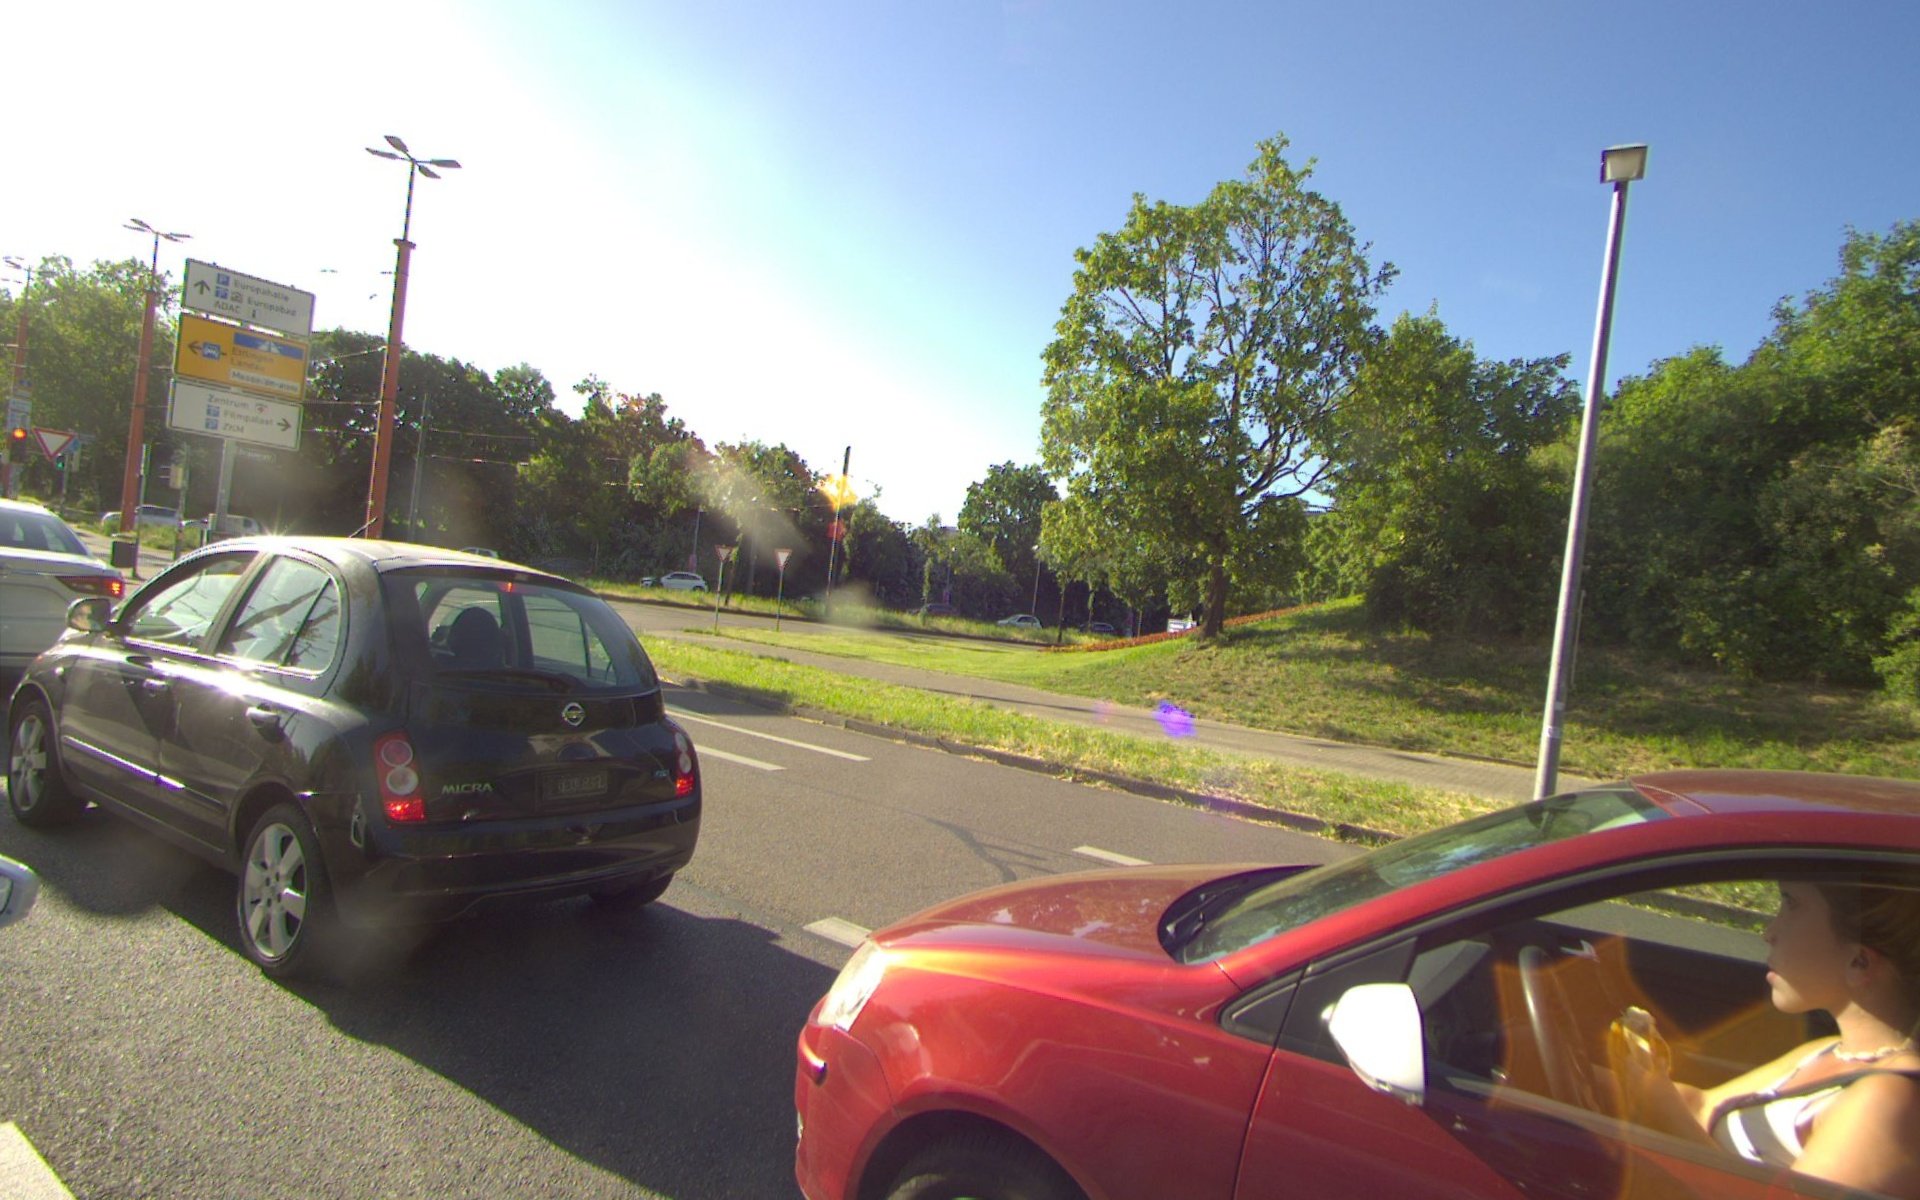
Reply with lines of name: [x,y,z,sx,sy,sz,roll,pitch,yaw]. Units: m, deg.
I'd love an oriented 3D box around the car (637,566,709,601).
car: [-18.840,-1.084,66.084,4.195,1.701,1.691,8,-1,-28]

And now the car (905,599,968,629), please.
car: [-1.765,1.069,76.391,4.257,1.725,1.833,8,-1,-29]

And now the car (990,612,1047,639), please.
car: [4.447,1.918,76.295,3.970,1.546,1.694,8,-1,-30]

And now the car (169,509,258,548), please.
car: [-37.654,-3.584,50.809,3.371,1.475,1.452,8,-1,-32]

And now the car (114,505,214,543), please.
car: [-41.498,-3.936,52.549,3.805,1.278,1.590,9,-3,-33]

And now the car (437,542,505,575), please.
car: [-29.129,-2.456,59.980,3.414,1.384,1.280,9,-2,-32]

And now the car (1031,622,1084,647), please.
car: [7.983,2.838,82.457,3.955,1.521,1.710,9,-2,-28]

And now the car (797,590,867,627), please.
car: [-8.642,0.575,67.961,4.169,1.906,1.750,8,-1,-35]

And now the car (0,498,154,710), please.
car: [-8.356,-0.171,8.019,4.130,1.454,1.723,7,-1,33]

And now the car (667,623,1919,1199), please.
car: [1.401,1.018,1.868,3.700,1.455,1.644,6,-2,33]

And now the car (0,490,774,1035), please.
car: [-2.838,0.467,4.696,3.555,1.518,1.657,7,-2,32]

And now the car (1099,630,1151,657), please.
car: [14.055,3.731,85.848,3.955,1.693,1.827,9,-2,-28]

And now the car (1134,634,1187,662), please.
car: [16.635,3.977,83.331,3.958,1.682,1.823,9,-2,-29]

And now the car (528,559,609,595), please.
car: [-23.360,-1.364,60.065,4.000,1.615,1.981,8,-1,-35]
